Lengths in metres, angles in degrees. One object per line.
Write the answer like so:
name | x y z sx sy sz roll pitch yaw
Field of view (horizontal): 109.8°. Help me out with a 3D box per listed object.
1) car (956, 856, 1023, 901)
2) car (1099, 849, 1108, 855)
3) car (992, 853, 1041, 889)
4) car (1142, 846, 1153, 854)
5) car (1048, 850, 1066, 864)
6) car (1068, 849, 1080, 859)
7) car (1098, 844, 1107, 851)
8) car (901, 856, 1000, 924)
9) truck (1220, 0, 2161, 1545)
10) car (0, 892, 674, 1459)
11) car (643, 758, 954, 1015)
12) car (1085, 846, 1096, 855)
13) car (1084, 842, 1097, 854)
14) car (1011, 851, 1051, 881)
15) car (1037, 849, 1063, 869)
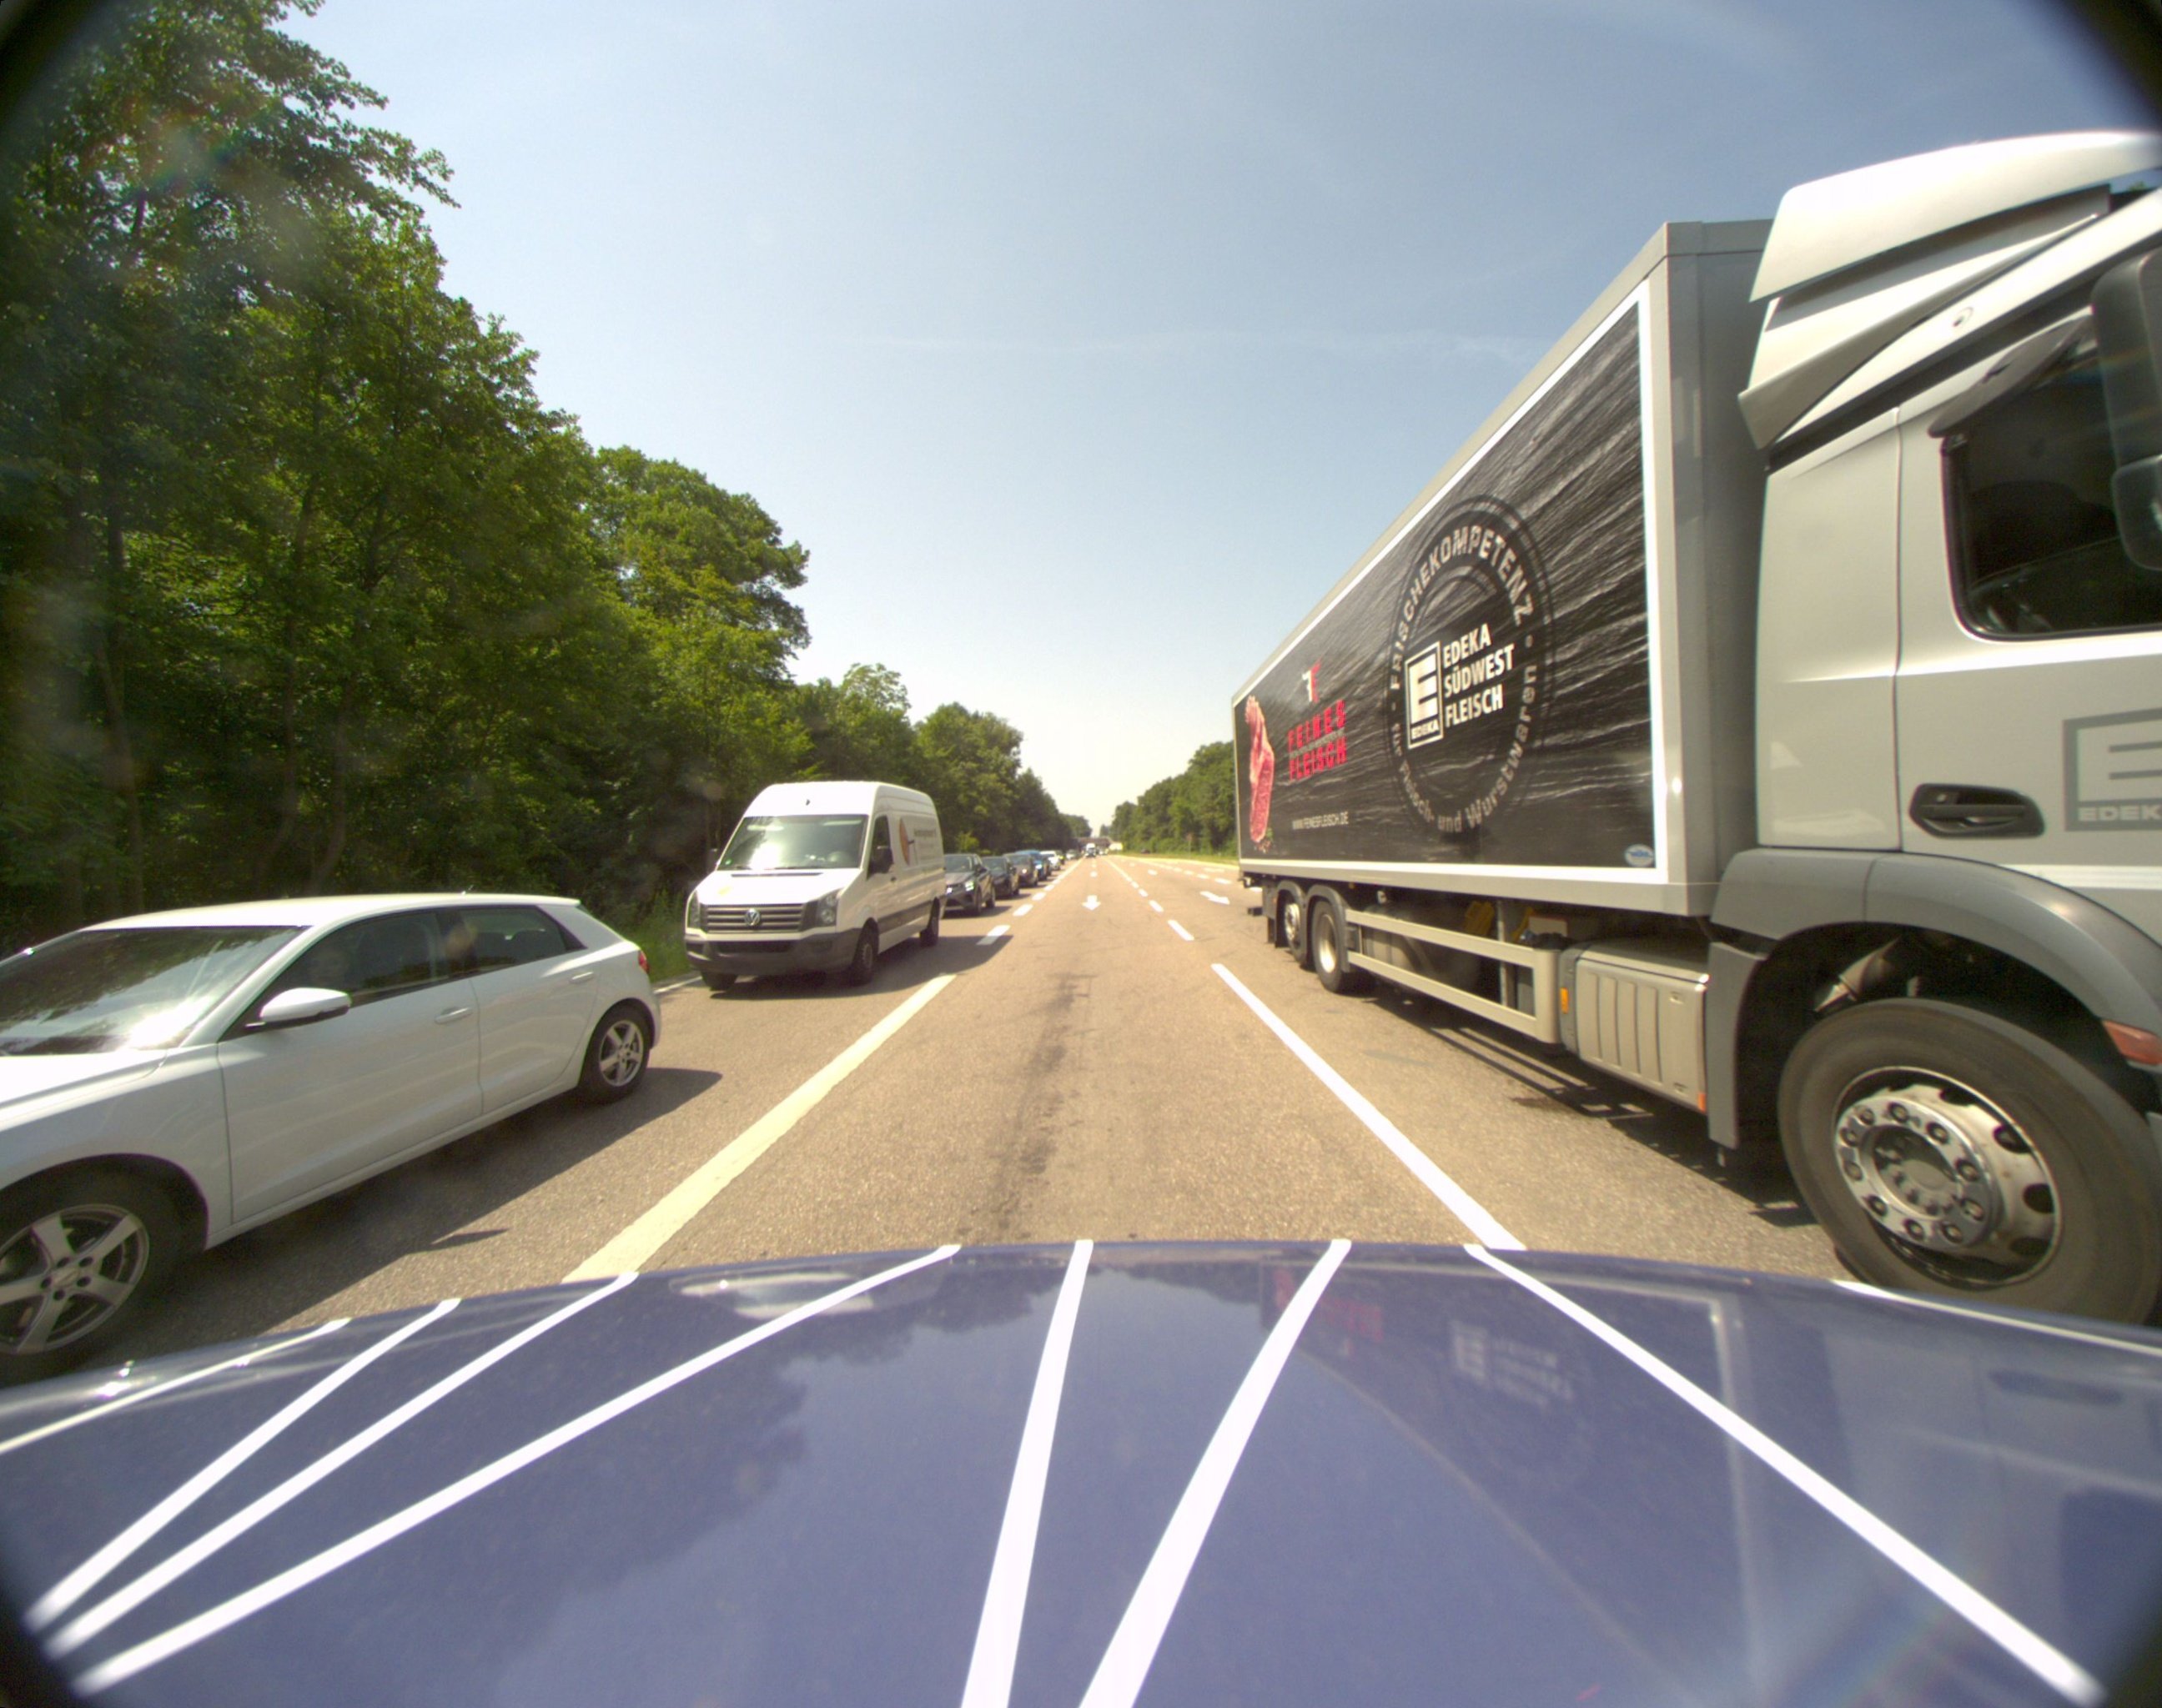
car | -3.048 0.787 26.120 1.796 1.348 4.228 -1 1 0
car | 5.217 -0.485 177.975 1.998 1.543 4.000 0 1 1
car | -2.778 0.687 33.517 1.796 1.431 4.228 -1 1 0
car | 14.102 -0.876 161.950 1.998 1.543 3.999 -2 1 1
car | -2.573 0.264 81.827 1.796 1.431 4.228 -1 1 0
car | -1.119 -0.039 118.471 1.796 1.431 4.228 -1 1 0
car | 5.766 -1.632 202.309 1.998 1.868 4.001 0 1 5
car | -3.226 0.832 19.642 1.796 1.452 4.228 -2 1 0
truck | 3.646 -0.524 6.265 2.753 3.862 11.318 -2 1 0
car | -3.887 1.044 3.411 1.693 1.427 4.001 -3 1 4
car | -3.463 0.326 10.979 1.974 2.630 6.060 -2 0 2
car | 1.757 -0.635 139.729 1.992 1.575 4.364 -1 1 0
car | 2.093 -1.339 169.653 2.673 2.685 6.330 0 1 3
car | -2.563 0.585 39.511 1.796 1.431 4.228 -1 1 0
car | -2.369 0.382 58.553 1.796 1.431 4.228 0 1 0
